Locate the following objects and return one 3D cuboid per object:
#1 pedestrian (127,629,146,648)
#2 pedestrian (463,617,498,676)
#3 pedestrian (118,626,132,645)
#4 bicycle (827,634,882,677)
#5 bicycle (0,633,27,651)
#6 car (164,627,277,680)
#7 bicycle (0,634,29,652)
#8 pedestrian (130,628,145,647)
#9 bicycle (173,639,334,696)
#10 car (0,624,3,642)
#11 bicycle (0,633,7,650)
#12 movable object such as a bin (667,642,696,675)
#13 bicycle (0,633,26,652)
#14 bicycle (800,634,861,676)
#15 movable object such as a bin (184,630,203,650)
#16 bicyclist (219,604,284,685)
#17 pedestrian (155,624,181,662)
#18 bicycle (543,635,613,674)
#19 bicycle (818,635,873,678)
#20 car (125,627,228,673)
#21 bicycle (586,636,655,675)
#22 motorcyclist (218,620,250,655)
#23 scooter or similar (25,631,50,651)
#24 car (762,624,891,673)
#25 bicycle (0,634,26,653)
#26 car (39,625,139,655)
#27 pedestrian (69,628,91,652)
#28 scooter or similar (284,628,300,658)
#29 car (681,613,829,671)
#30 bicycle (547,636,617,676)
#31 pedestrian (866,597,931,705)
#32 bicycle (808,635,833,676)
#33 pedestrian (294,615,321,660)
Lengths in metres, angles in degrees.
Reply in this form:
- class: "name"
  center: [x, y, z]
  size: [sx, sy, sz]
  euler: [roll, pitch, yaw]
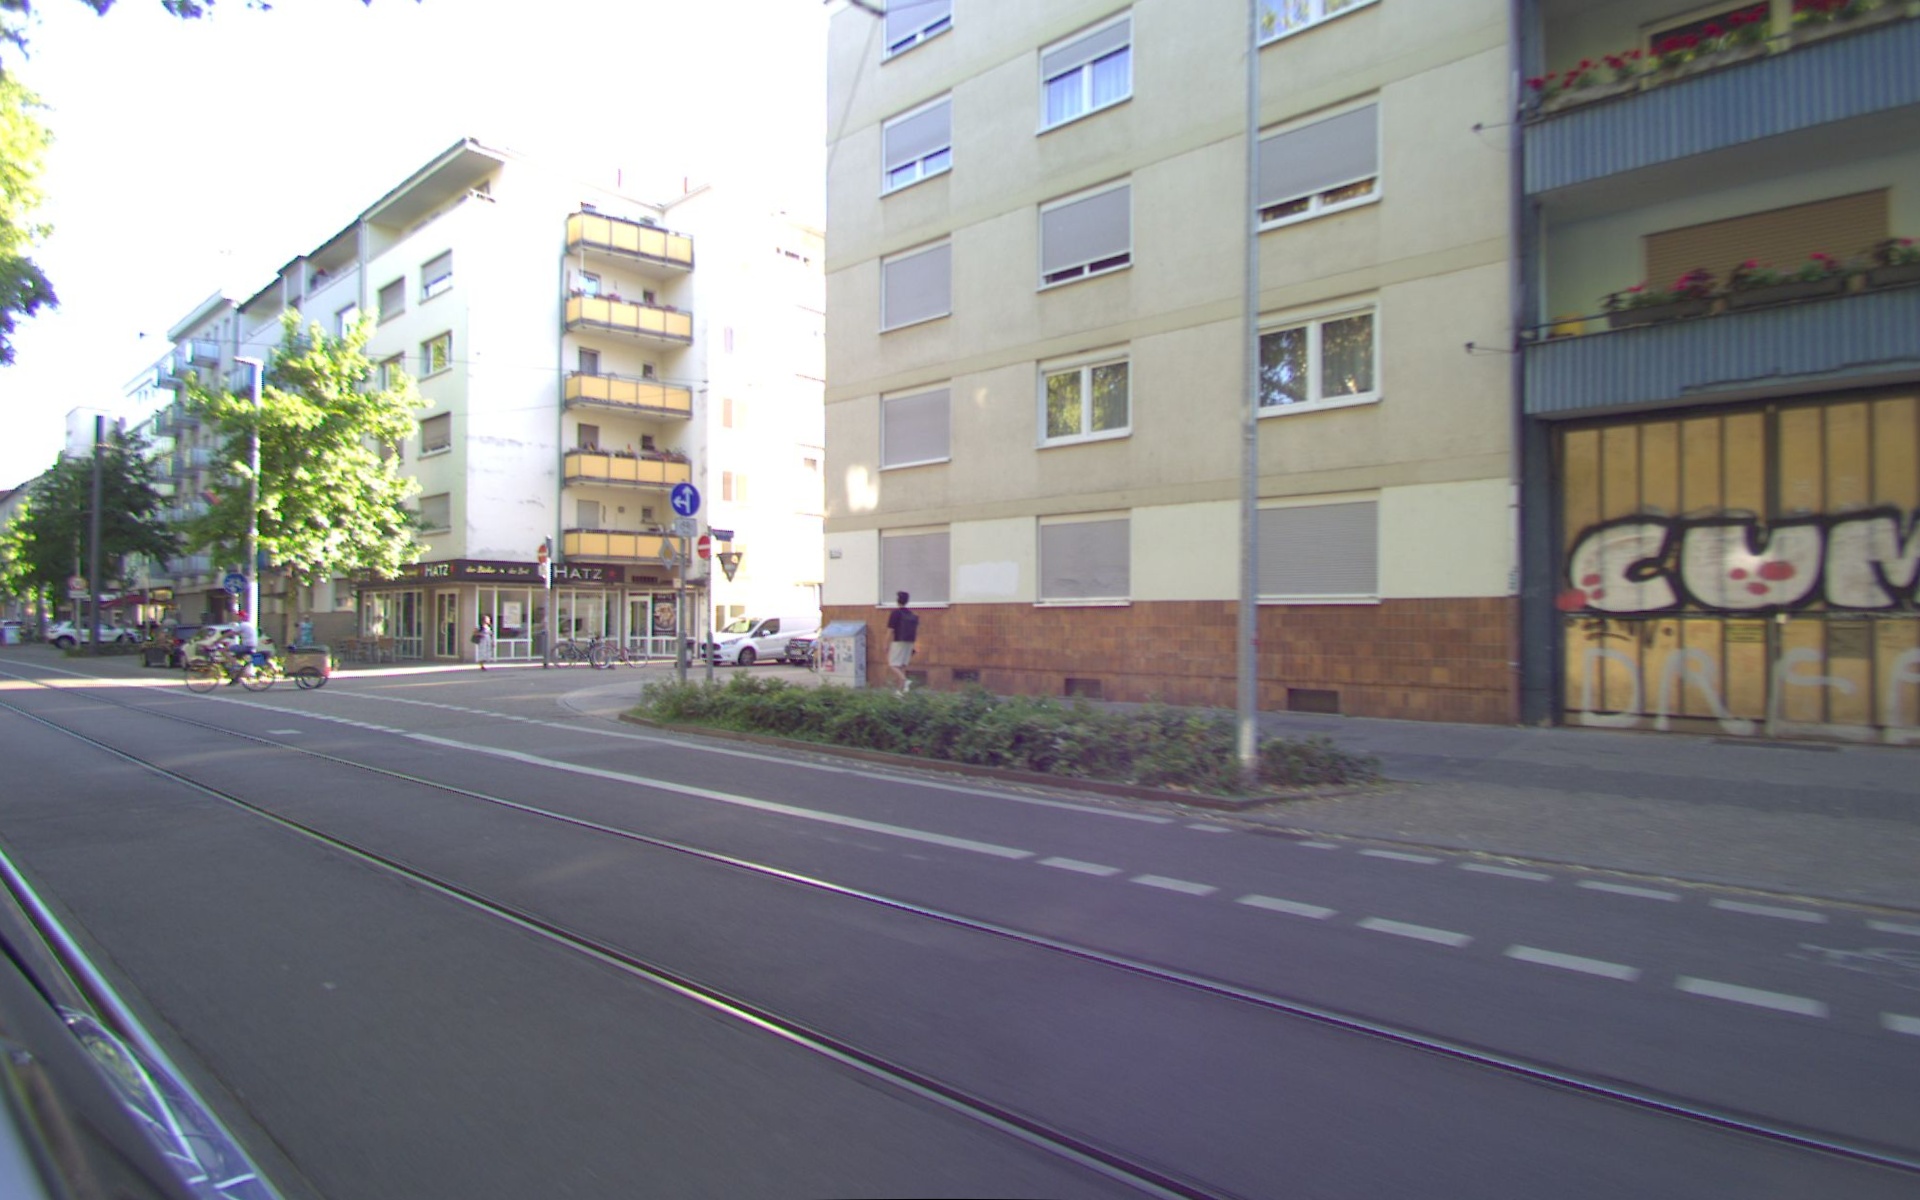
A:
- class: "pedestrian"
  center: [-53.425, 2.513, 65.641]
  size: [0.683, 1.207, 0.601]
  euler: [0, -2, 6]
- class: "pedestrian"
  center: [-14.250, 1.373, 30.076]
  size: [0.748, 1.704, 0.657]
  euler: [-1, -2, 39]
- class: "pedestrian"
  center: [-55.778, 2.373, 67.615]
  size: [0.560, 1.207, 0.509]
  euler: [-1, -2, 25]
- class: "bicycle"
  center: [-2.959, 1.555, 28.538]
  size: [0.582, 1.165, 1.735]
  euler: [-1, -3, 32]
- class: "bicycle"
  center: [-56.337, 2.505, 59.676]
  size: [0.656, 1.015, 1.813]
  euler: [-1, -1, 36]
- class: "car"
  center: [-23.559, 1.650, 32.201]
  size: [4.370, 1.475, 1.697]
  euler: [-1, 2, 37]
- class: "bicycle"
  center: [-55.482, 2.495, 58.935]
  size: [0.656, 1.015, 1.813]
  euler: [-1, -1, 36]
- class: "pedestrian"
  center: [-52.829, 2.386, 65.010]
  size: [0.558, 1.207, 0.511]
  euler: [0, -2, 12]
- class: "bicycle"
  center: [-15.382, 1.454, 22.112]
  size: [2.759, 1.165, 0.923]
  euler: [0, -1, -11]
- class: "car"
  center: [-86.723, 2.942, 89.970]
  size: [4.387, 1.556, 1.935]
  euler: [-1, -3, 41]
- class: "bicycle"
  center: [-58.608, 2.526, 60.961]
  size: [0.656, 1.015, 1.676]
  euler: [-1, -1, 36]
- class: "movable object such as a bin"
  center: [-8.713, 1.822, 31.671]
  size: [0.638, 0.980, 0.589]
  euler: [-1, -2, 30]
- class: "bicycle"
  center: [-56.136, 2.502, 59.419]
  size: [0.656, 1.072, 1.813]
  euler: [-1, -1, 36]
- class: "bicycle"
  center: [-3.726, 1.588, 29.181]
  size: [0.585, 1.165, 1.728]
  euler: [-2, -4, 45]
- class: "movable object such as a bin"
  center: [-41.217, 2.173, 54.418]
  size: [0.574, 1.063, 0.665]
  euler: [-2, -3, 42]
- class: "bicyclist"
  center: [-15.463, 0.954, 22.108]
  size: [0.860, 1.717, 0.910]
  euler: [0, -1, -11]
- class: "pedestrian"
  center: [-36.427, 1.973, 46.565]
  size: [0.794, 1.704, 0.756]
  euler: [-1, -2, 39]
- class: "bicycle"
  center: [-11.843, 1.697, 31.424]
  size: [1.918, 1.165, 0.573]
  euler: [3, -3, -35]
- class: "bicycle"
  center: [-3.242, 1.604, 28.758]
  size: [0.582, 1.165, 1.735]
  euler: [-1, -3, 32]
- class: "car"
  center: [-27.259, 1.698, 35.172]
  size: [3.989, 1.475, 1.699]
  euler: [-1, -1, 34]
- class: "bicycle"
  center: [-10.494, 1.713, 31.292]
  size: [1.917, 1.165, 0.574]
  euler: [3, -3, -29]
- class: "motorcyclist"
  center: [-30.559, 1.577, 42.604]
  size: [1.016, 1.452, 0.864]
  euler: [-2, -3, 42]
- class: "scooter or similar"
  center: [-55.851, 2.474, 61.261]
  size: [0.498, 1.185, 1.069]
  euler: [-1, -1, 39]
- class: "car"
  center: [-4.312, 1.539, 33.107]
  size: [2.027, 1.511, 3.906]
  euler: [-1, -2, 39]
- class: "bicycle"
  center: [-54.606, 2.483, 57.878]
  size: [0.656, 1.015, 1.676]
  euler: [-1, -1, 36]
- class: "car"
  center: [-47.315, 2.117, 55.004]
  size: [1.852, 1.486, 3.968]
  euler: [-1, -1, 43]
- class: "pedestrian"
  center: [-49.813, 2.260, 57.302]
  size: [0.744, 1.307, 0.708]
  euler: [-1, -2, 27]
- class: "scooter or similar"
  center: [-28.992, 1.863, 43.932]
  size: [0.370, 1.299, 1.238]
  euler: [4, -4, -41]
- class: "car"
  center: [-6.854, 1.384, 34.378]
  size: [2.035, 1.836, 4.830]
  euler: [-1, -2, 36]
- class: "bicycle"
  center: [-11.600, 1.725, 31.085]
  size: [1.918, 1.165, 0.573]
  euler: [3, -3, -35]
- class: "pedestrian"
  center: [-1.088, 0.884, 17.922]
  size: [0.964, 1.840, 0.657]
  euler: [-1, -2, 39]
- class: "bicycle"
  center: [-4.127, 1.634, 30.032]
  size: [0.575, 1.165, 1.604]
  euler: [1, -3, -4]
- class: "pedestrian"
  center: [-24.963, 1.439, 38.704]
  size: [0.748, 1.704, 0.657]
  euler: [-1, -2, 39]
